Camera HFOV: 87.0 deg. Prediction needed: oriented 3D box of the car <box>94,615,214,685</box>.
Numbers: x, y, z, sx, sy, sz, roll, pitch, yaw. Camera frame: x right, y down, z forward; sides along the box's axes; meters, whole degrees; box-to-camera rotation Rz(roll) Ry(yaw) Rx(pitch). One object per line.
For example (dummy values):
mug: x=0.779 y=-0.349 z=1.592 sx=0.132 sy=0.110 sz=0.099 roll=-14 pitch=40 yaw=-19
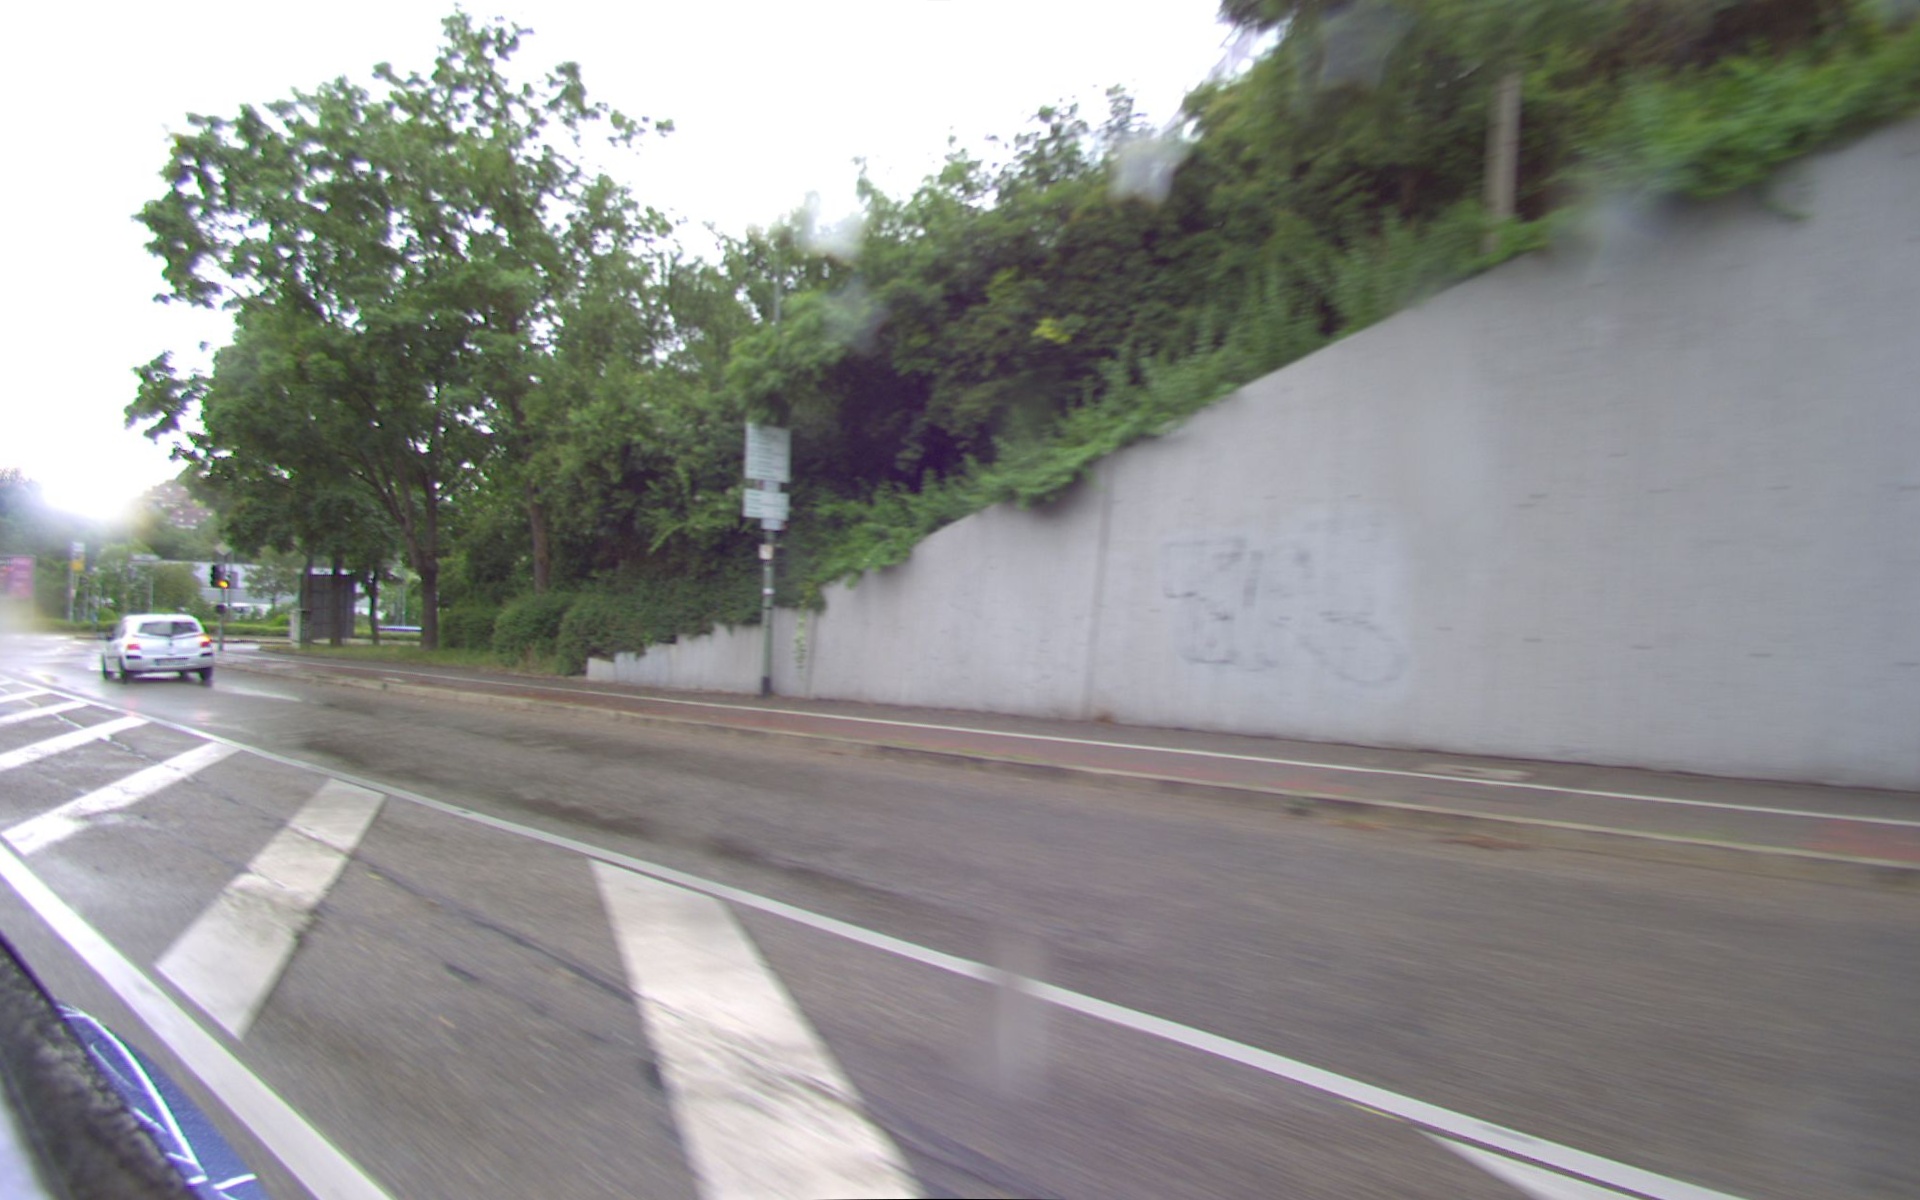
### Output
car: x=-18.364 y=1.095 z=23.005 sx=3.815 sy=1.459 sz=1.497 roll=-1 pitch=-1 yaw=41
